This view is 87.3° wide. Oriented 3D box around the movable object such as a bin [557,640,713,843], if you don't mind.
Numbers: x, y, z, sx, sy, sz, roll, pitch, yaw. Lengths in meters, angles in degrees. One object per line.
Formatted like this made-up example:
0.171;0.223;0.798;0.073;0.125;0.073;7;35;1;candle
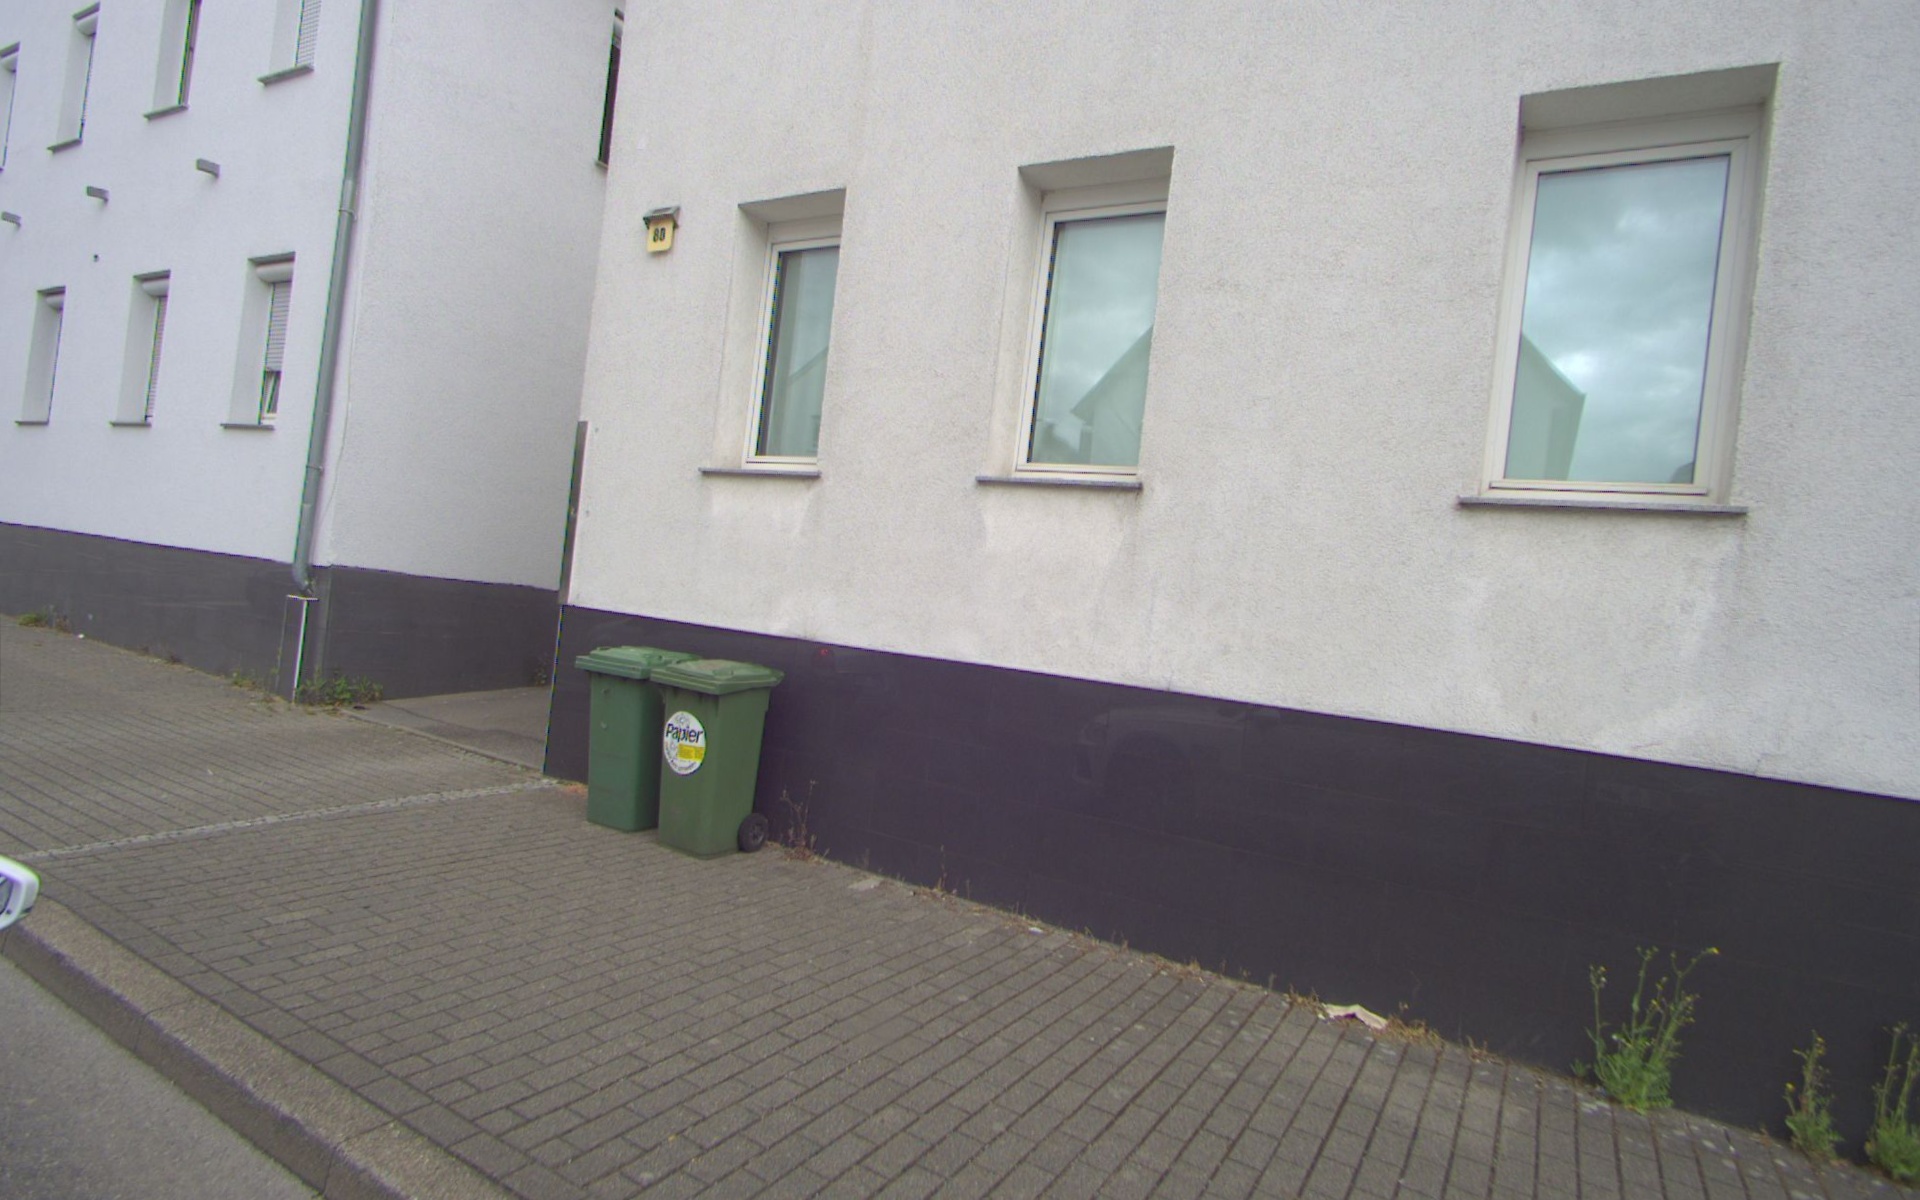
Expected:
-1.710;0.716;5.314;0.479;0.953;0.540;7;2;32;movable object such as a bin

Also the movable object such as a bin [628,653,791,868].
-1.252;0.769;5.056;0.479;0.953;0.540;7;2;32;movable object such as a bin
